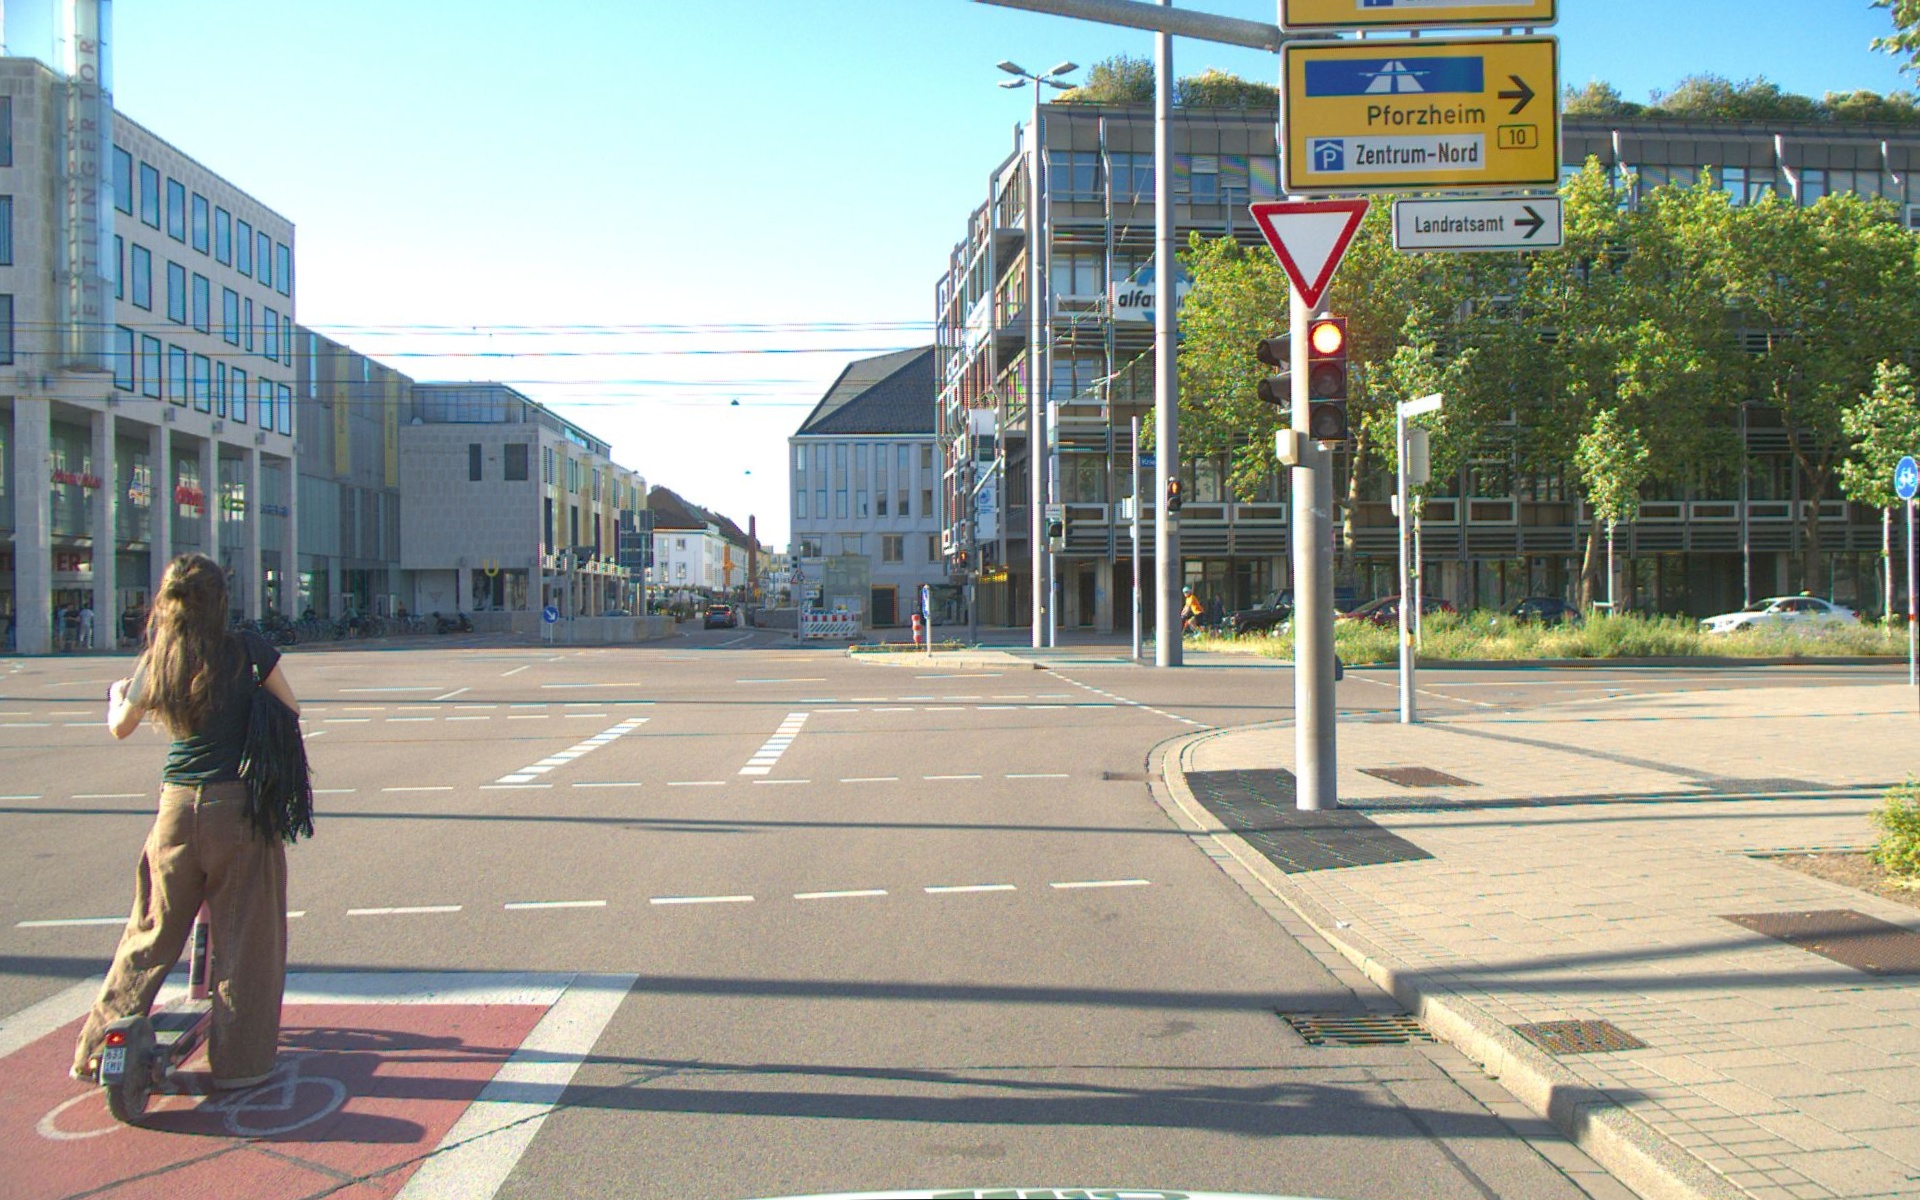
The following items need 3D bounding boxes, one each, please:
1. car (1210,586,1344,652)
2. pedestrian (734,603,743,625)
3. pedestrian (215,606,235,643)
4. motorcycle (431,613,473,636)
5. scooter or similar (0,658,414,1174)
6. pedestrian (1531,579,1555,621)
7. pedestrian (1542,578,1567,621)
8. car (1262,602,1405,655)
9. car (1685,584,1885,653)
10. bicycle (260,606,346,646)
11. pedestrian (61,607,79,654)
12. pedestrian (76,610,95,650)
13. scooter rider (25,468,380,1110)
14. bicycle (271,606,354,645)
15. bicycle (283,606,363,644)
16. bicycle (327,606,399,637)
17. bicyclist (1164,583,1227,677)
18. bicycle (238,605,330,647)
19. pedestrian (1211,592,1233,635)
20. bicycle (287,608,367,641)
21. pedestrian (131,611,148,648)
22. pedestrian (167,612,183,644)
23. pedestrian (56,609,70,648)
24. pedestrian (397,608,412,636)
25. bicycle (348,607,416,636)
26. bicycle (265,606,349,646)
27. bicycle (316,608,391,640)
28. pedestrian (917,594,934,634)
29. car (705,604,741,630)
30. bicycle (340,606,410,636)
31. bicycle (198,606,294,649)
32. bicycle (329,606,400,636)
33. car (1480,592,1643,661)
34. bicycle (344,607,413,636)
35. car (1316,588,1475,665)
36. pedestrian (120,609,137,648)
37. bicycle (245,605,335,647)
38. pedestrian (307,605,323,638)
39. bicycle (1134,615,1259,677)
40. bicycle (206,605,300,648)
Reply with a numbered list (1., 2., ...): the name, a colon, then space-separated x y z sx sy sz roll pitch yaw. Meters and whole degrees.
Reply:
1. car: 10.302 0.601 53.913 3.908 2.049 1.999 1 0 -3
2. pedestrian: -14.469 0.933 108.037 0.598 1.436 0.569 -1 0 -7
3. pedestrian: -32.916 1.091 74.063 0.776 1.671 0.688 -1 0 -30
4. motorcycle: -29.956 1.436 97.588 2.230 1.341 0.719 -1 0 -6
5. scooter or similar: -2.264 0.817 4.964 0.713 1.223 1.664 0 0 -1
6. pedestrian: 23.441 -0.005 66.527 0.651 1.687 0.740 -1 0 -8
7. pedestrian: 23.610 -0.006 65.690 0.651 1.687 0.740 -1 0 -8
8. car: 11.437 0.867 50.809 3.908 1.534 1.867 1 0 -4
9. car: 26.170 0.582 52.569 5.332 2.049 2.096 1 0 -3
10. bicycle: -29.575 1.169 74.488 3.430 1.726 0.984 -1 0 -12
11. pedestrian: -32.601 1.114 60.585 0.533 1.671 0.546 -1 0 -24
12. pedestrian: -35.711 1.210 67.566 0.472 1.613 0.598 -1 0 -5
13. scooter rider: -2.273 0.530 5.063 0.713 1.806 0.811 0 0 -1
14. bicycle: -30.040 1.179 76.775 3.430 1.726 0.984 -1 0 -12
15. bicycle: -30.339 1.188 78.861 3.430 1.726 0.984 -1 0 -12
16. bicycle: -31.074 1.120 86.121 3.430 1.554 0.984 -1 0 -12
17. bicyclist: 6.716 0.835 47.217 1.539 2.625 0.930 -1 0 -10
18. bicycle: -28.870 1.088 70.707 3.427 1.726 1.114 -1 0 -10
19. pedestrian: 10.530 0.543 66.539 0.715 1.687 0.649 -1 0 -8
20. bicycle: -30.543 1.171 79.850 3.430 1.554 0.984 -1 0 -12
21. pedestrian: -34.834 1.261 70.184 0.472 1.537 0.513 -1 0 -5
22. pedestrian: -36.507 1.288 76.924 0.629 1.460 0.472 -1 0 -23
23. pedestrian: -36.716 1.165 67.720 0.379 1.613 0.367 -1 0 -6
24. pedestrian: -34.393 1.358 102.408 0.683 1.671 0.694 -1 0 -8
25. bicycle: -31.949 1.198 91.418 3.430 1.554 0.984 -1 0 -12
26. bicycle: -29.799 1.178 75.576 3.430 1.726 0.984 -1 0 -12
27. bicycle: -30.886 1.212 84.260 3.430 1.554 0.984 -1 0 -12
28. pedestrian: -1.446 0.584 69.545 0.650 1.687 0.755 -1 0 -4
29. car: -15.498 1.098 108.157 2.157 1.635 4.320 -1 0 -6
30. bicycle: -31.481 1.138 89.012 3.430 1.554 0.984 -1 0 -12
31. bicycle: -29.324 1.113 68.027 3.427 1.726 1.114 -1 0 -10
32. bicycle: -31.391 1.108 87.238 3.430 1.554 0.984 -1 0 -12
33. car: 18.825 0.824 51.873 4.359 2.049 1.998 1 0 -6
34. bicycle: -31.785 1.168 90.394 3.430 1.554 0.984 -1 0 -12
35. car: 12.229 0.736 46.572 3.908 2.049 1.999 1 0 -3
36. pedestrian: -34.881 1.195 69.400 0.472 1.613 0.513 -1 0 -5
37. bicycle: -29.100 1.124 71.919 3.427 1.726 1.114 -1 0 -10
38. pedestrian: -33.382 1.101 85.589 0.641 1.671 0.693 -1 0 -9
39. bicycle: 6.746 1.304 47.216 3.427 1.688 0.929 -1 0 -10
40. bicycle: -29.554 1.111 69.211 3.427 1.726 1.114 -1 0 -10
